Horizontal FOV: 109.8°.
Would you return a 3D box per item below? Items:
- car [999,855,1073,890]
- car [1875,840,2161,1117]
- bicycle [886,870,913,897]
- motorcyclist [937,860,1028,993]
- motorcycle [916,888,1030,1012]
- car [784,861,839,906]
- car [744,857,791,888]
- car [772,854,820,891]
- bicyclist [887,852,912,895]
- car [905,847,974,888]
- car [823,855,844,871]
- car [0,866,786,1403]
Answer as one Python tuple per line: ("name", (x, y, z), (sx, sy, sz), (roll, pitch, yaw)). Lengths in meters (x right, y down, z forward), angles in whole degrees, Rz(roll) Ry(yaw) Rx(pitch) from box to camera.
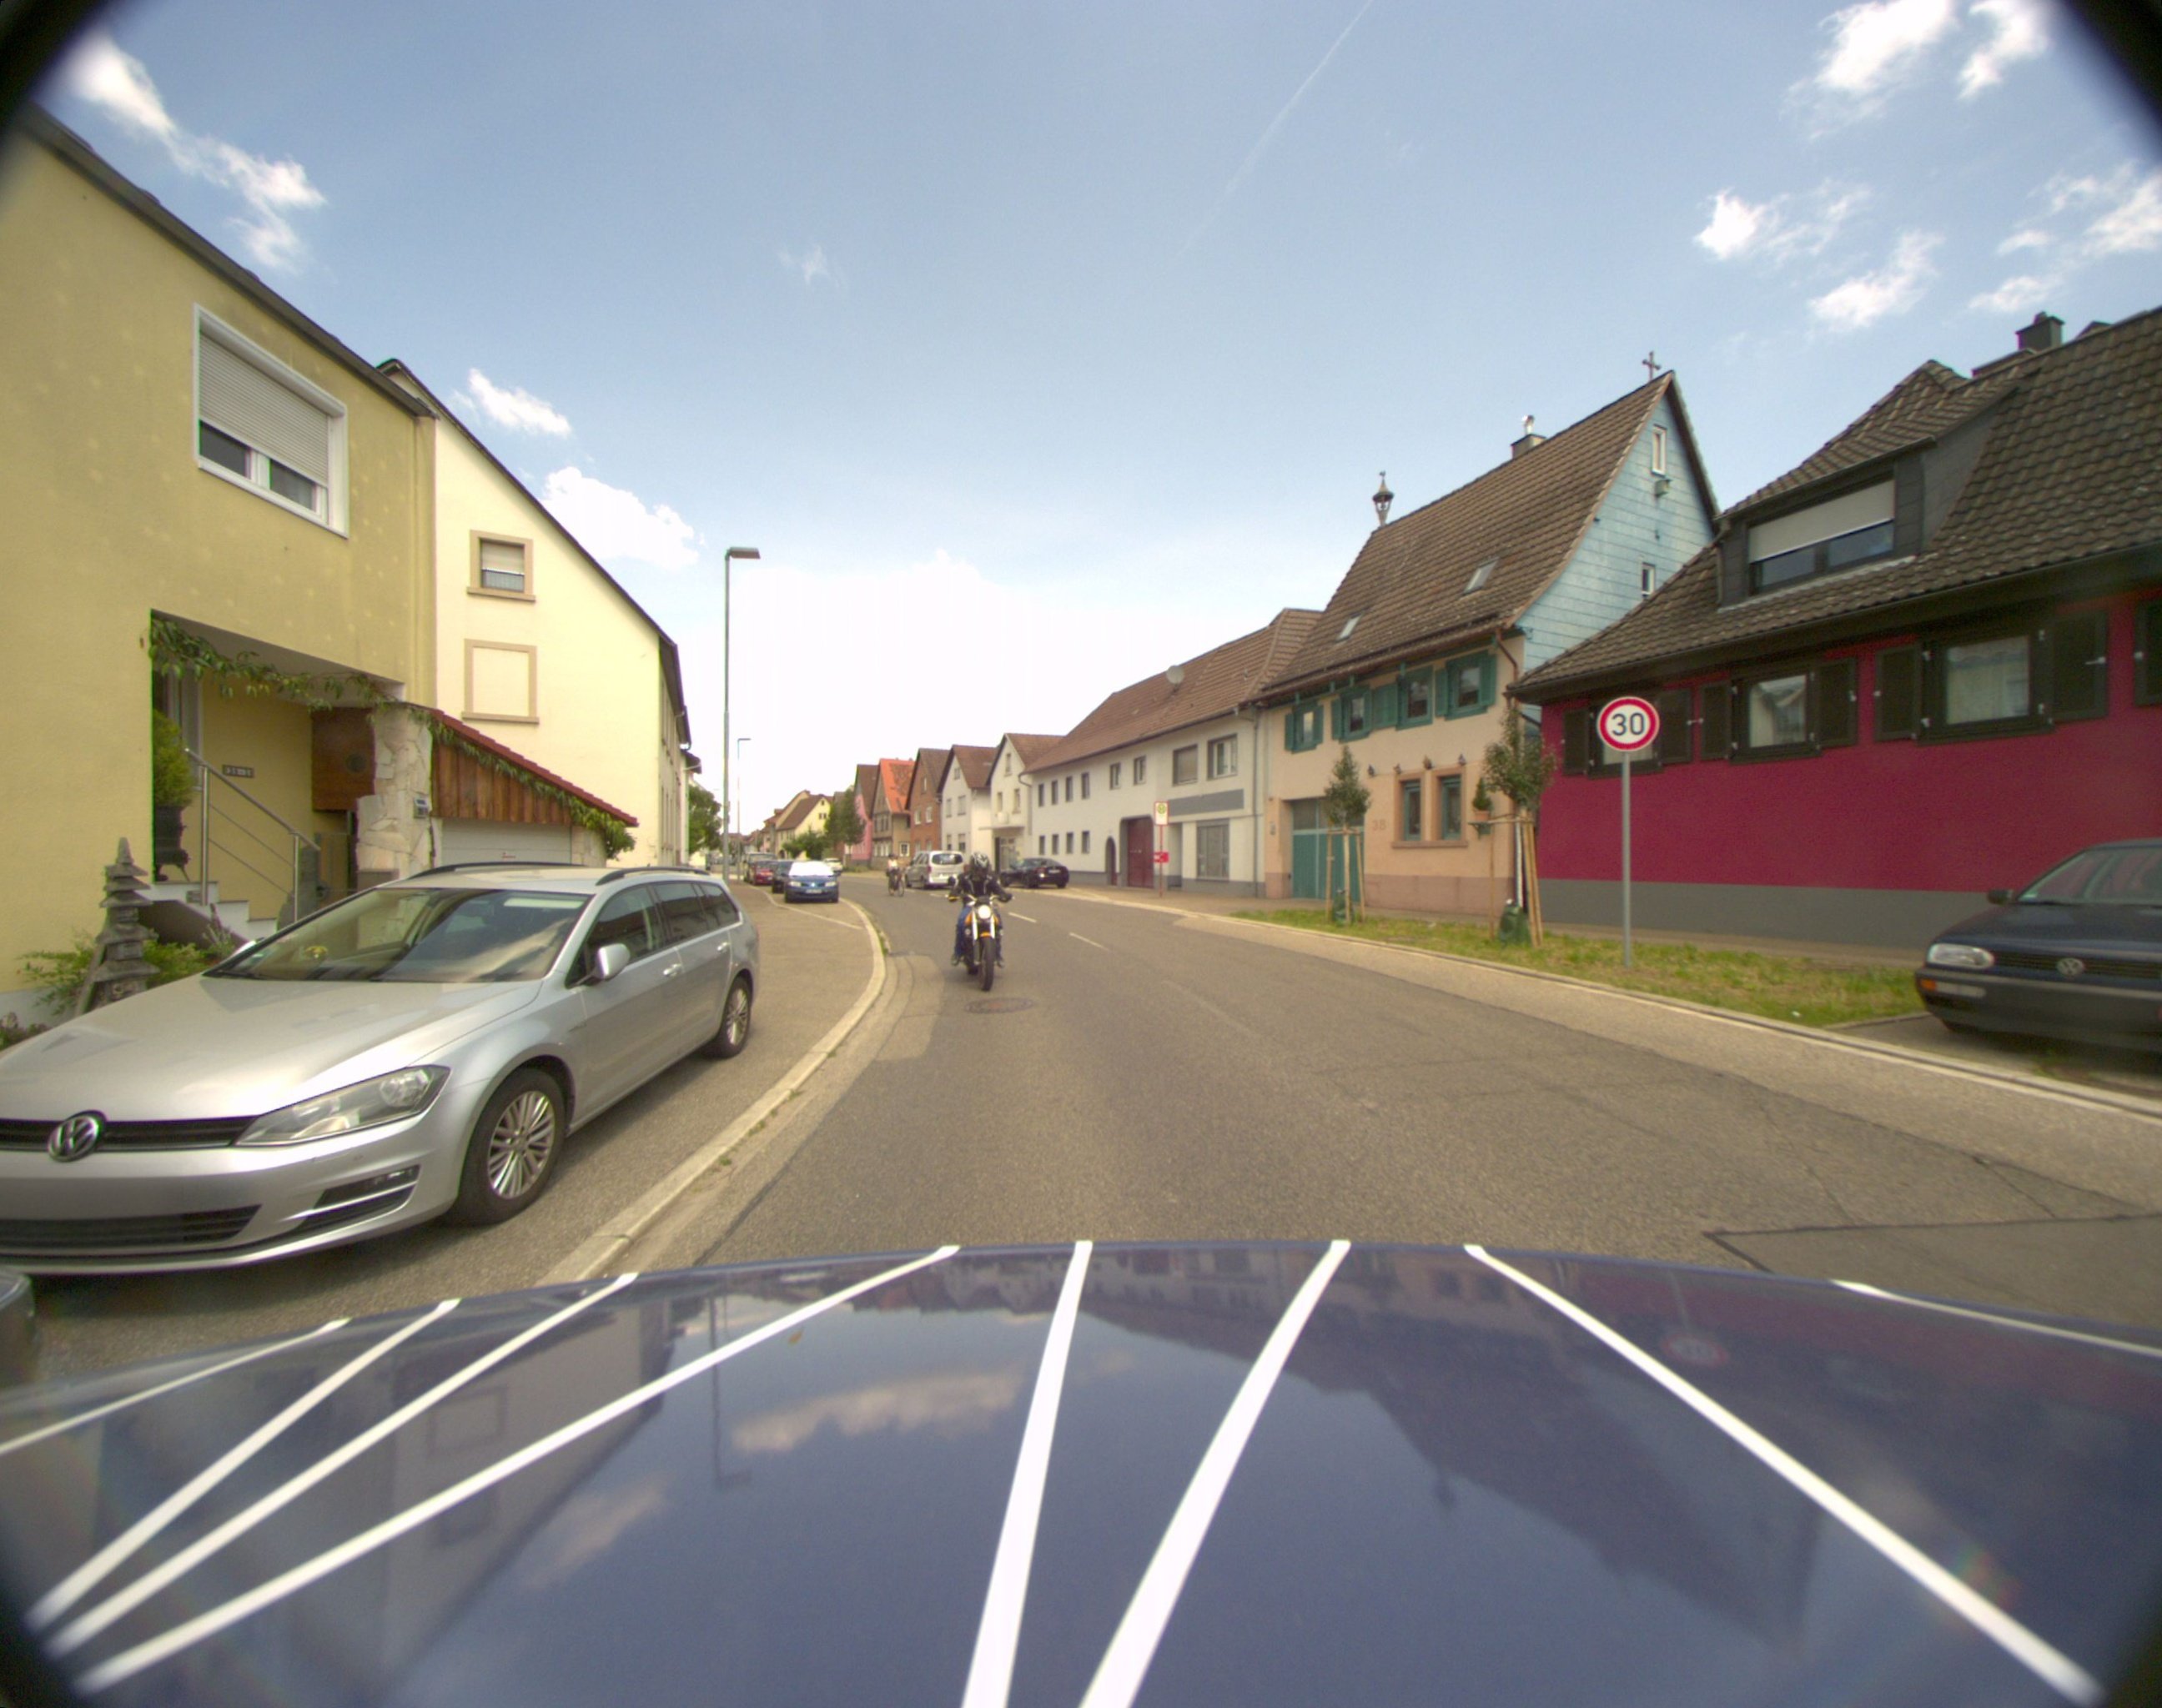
("car", (-2.134, 0.805, 34.561), (1.812, 1.412, 4.541), (-2, 0, -24))
("car", (7.692, 0.661, 5.111), (3.983, 1.455, 1.718), (-2, 1, -18))
("bicycle", (-7.414, 1.197, 31.107), (0.934, 1.005, 1.923), (-1, 0, -10))
("motorcyclist", (-1.243, 0.901, 9.747), (1.000, 1.591, 0.799), (-1, 2, 2))
("motorcycle", (-1.263, 1.106, 9.421), (0.985, 1.233, 2.103), (-2, 0, 2))
("car", (-9.632, 0.979, 27.226), (1.730, 1.377, 3.992), (0, 1, -20))
("car", (-17.852, 1.006, 43.193), (1.669, 1.638, 3.990), (-2, 1, -34))
("car", (-12.756, 0.850, 33.883), (1.776, 1.520, 3.993), (-1, -2, -24))
("bicyclist", (-7.410, 0.778, 31.060), (0.910, 1.679, 0.760), (-1, 2, -9))
("car", (-6.963, 0.595, 37.063), (2.002, 1.790, 4.924), (-2, 2, -26))
("car", (-25.529, 0.902, 78.357), (1.686, 1.521, 3.491), (-2, 2, -25))
("car", (-3.398, 0.905, 4.469), (1.890, 1.521, 4.333), (2, 0, -5))
